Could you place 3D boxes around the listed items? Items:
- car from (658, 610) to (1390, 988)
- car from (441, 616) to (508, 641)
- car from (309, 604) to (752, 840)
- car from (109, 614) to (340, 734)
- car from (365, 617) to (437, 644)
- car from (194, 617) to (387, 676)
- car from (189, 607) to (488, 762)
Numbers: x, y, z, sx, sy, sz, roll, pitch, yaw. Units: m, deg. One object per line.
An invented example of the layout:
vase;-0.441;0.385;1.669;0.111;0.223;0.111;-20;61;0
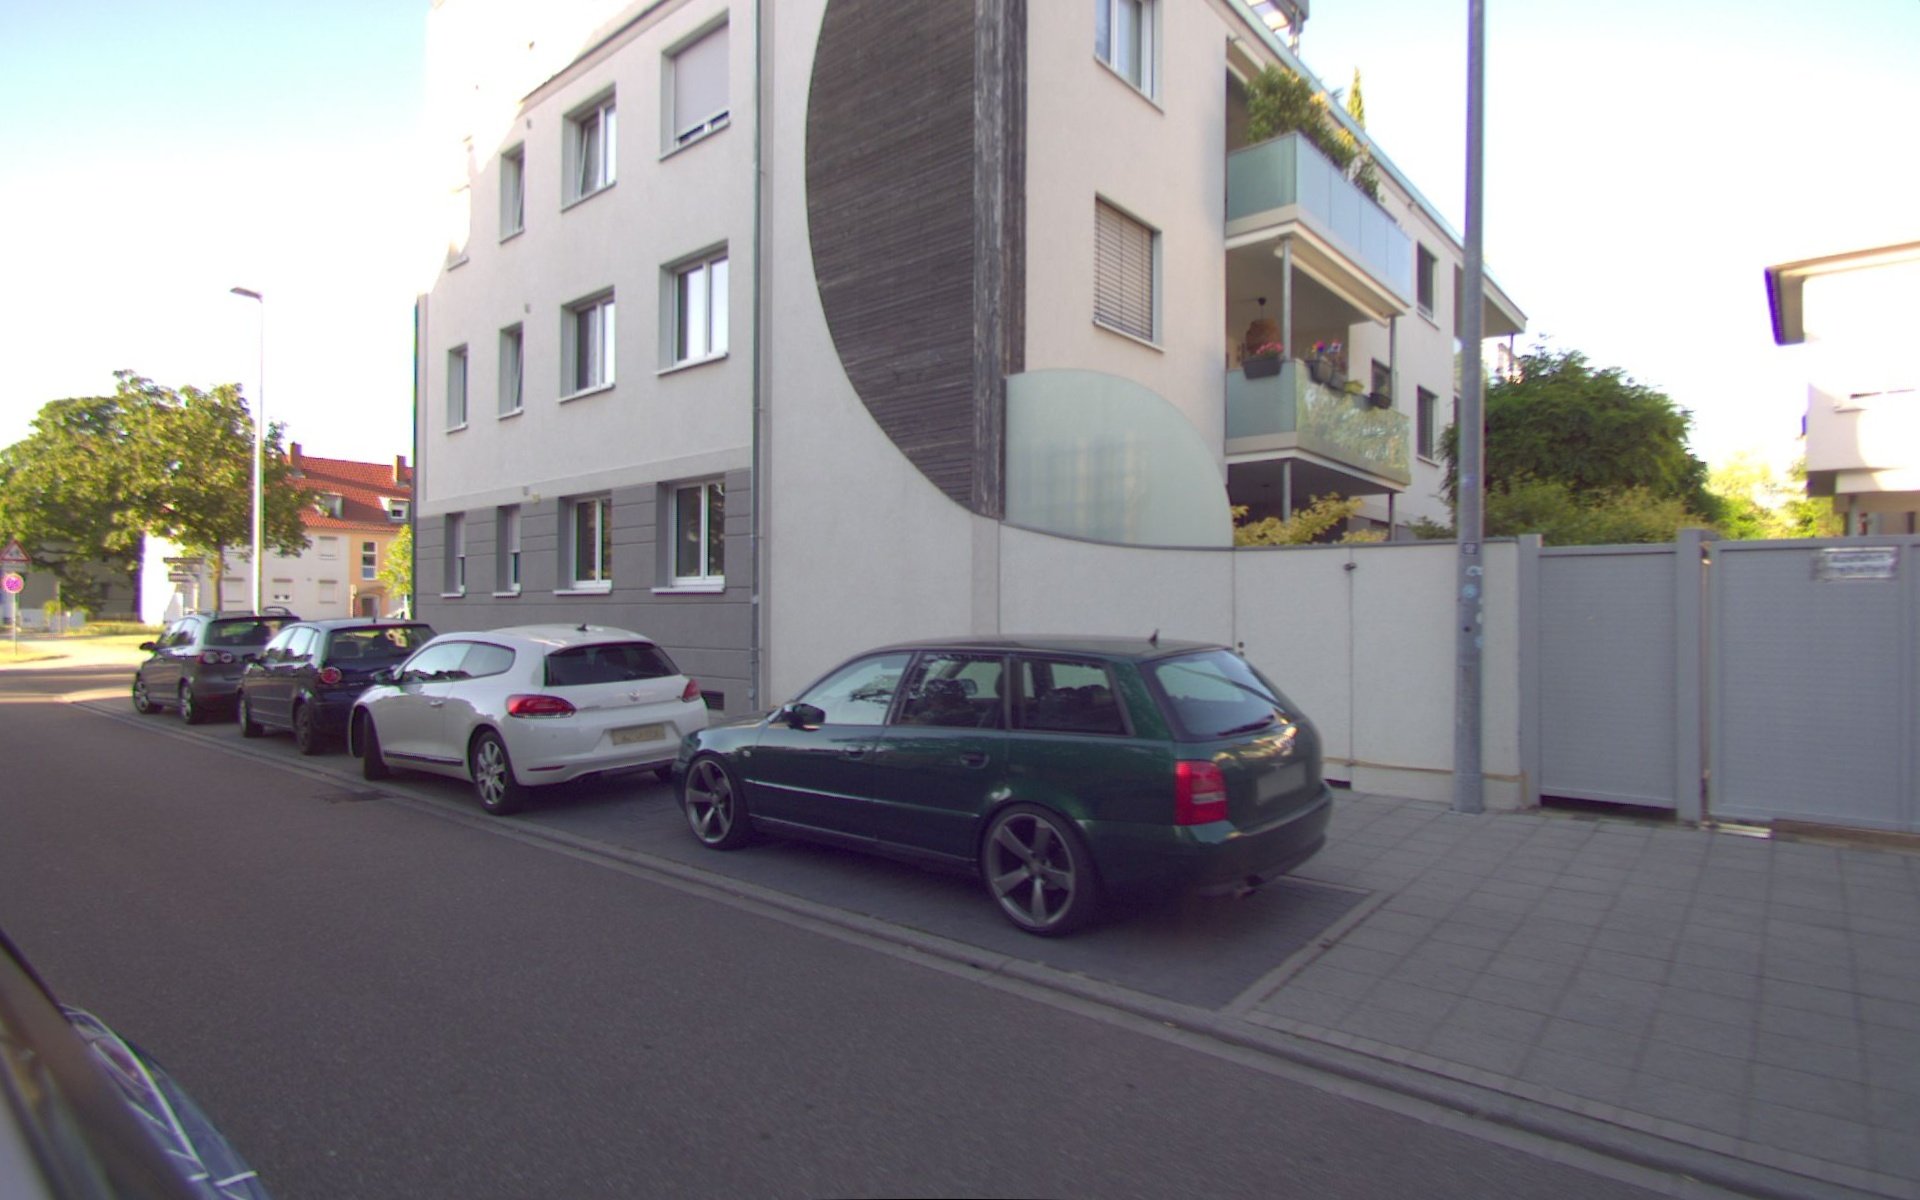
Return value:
car;0.122;0.800;5.987;4.140;1.458;1.740;0;0;41
car;-35.111;2.052;73.212;1.848;1.708;3.948;-3;-2;38
car;-3.886;0.852;8.883;4.085;1.603;1.866;-1;-1;38
car;-11.428;1.024;15.648;4.085;1.603;1.866;-1;-1;38
car;-38.213;2.068;69.264;1.848;1.708;3.948;-3;-2;38
car;-20.964;1.406;31.865;1.788;1.682;4.773;-1;-1;41
car;-7.745;0.903;12.489;4.085;1.603;1.866;-1;-1;38
